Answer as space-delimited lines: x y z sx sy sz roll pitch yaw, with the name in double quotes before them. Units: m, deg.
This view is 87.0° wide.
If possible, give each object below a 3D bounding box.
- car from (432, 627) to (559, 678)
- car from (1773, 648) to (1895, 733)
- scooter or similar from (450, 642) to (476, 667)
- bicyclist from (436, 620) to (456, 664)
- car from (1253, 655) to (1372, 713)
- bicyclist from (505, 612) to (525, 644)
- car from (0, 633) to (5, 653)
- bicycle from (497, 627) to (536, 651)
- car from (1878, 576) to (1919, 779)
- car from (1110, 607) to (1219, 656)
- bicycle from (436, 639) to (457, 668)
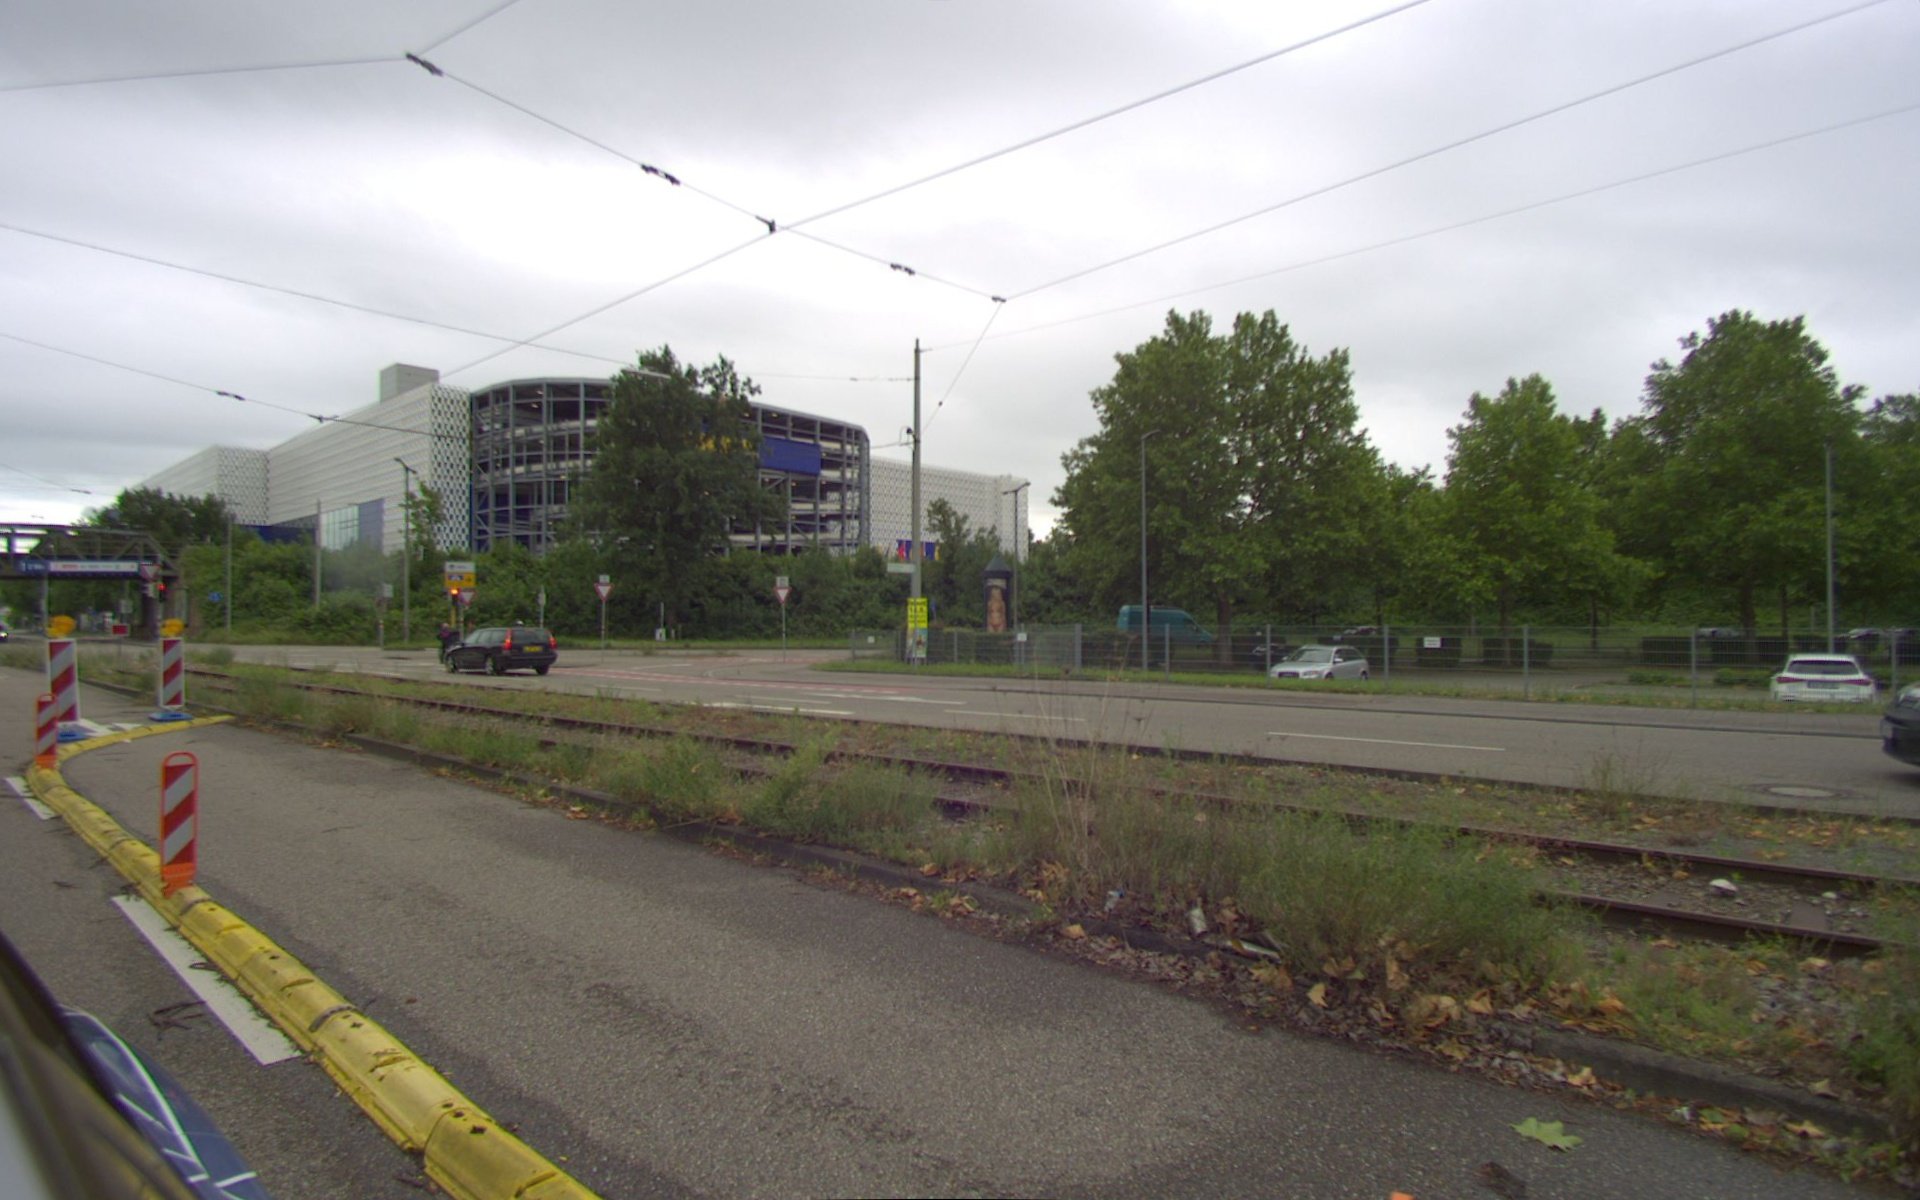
"car" -14.398 1.570 31.264 4.421 1.484 1.801 -1 -2 39
"car" 19.773 1.952 23.036 1.911 1.646 4.481 -1 -2 39
"scooter or similar" -19.057 2.077 38.798 0.832 0.914 1.202 -1 -1 -24
"bicyclist" -20.416 1.652 40.216 0.636 1.696 0.688 -1 -1 -24
"car" 10.904 2.512 31.142 1.913 1.544 4.164 -1 -2 44
"bicyclist" -21.472 1.338 48.840 0.623 1.530 0.641 -2 -1 27
"car" -72.048 3.203 74.854 3.999 1.435 1.812 -2 -1 42
"bicycle" -21.401 1.877 48.809 1.991 1.070 0.641 -2 -1 28
"car" 10.563 0.655 8.123 4.412 1.797 1.805 -1 -2 32
"car" 12.167 1.864 60.394 5.852 2.847 2.341 0 -1 -11
"bicycle" -20.407 2.095 40.229 0.636 1.070 2.031 -1 -1 -24
